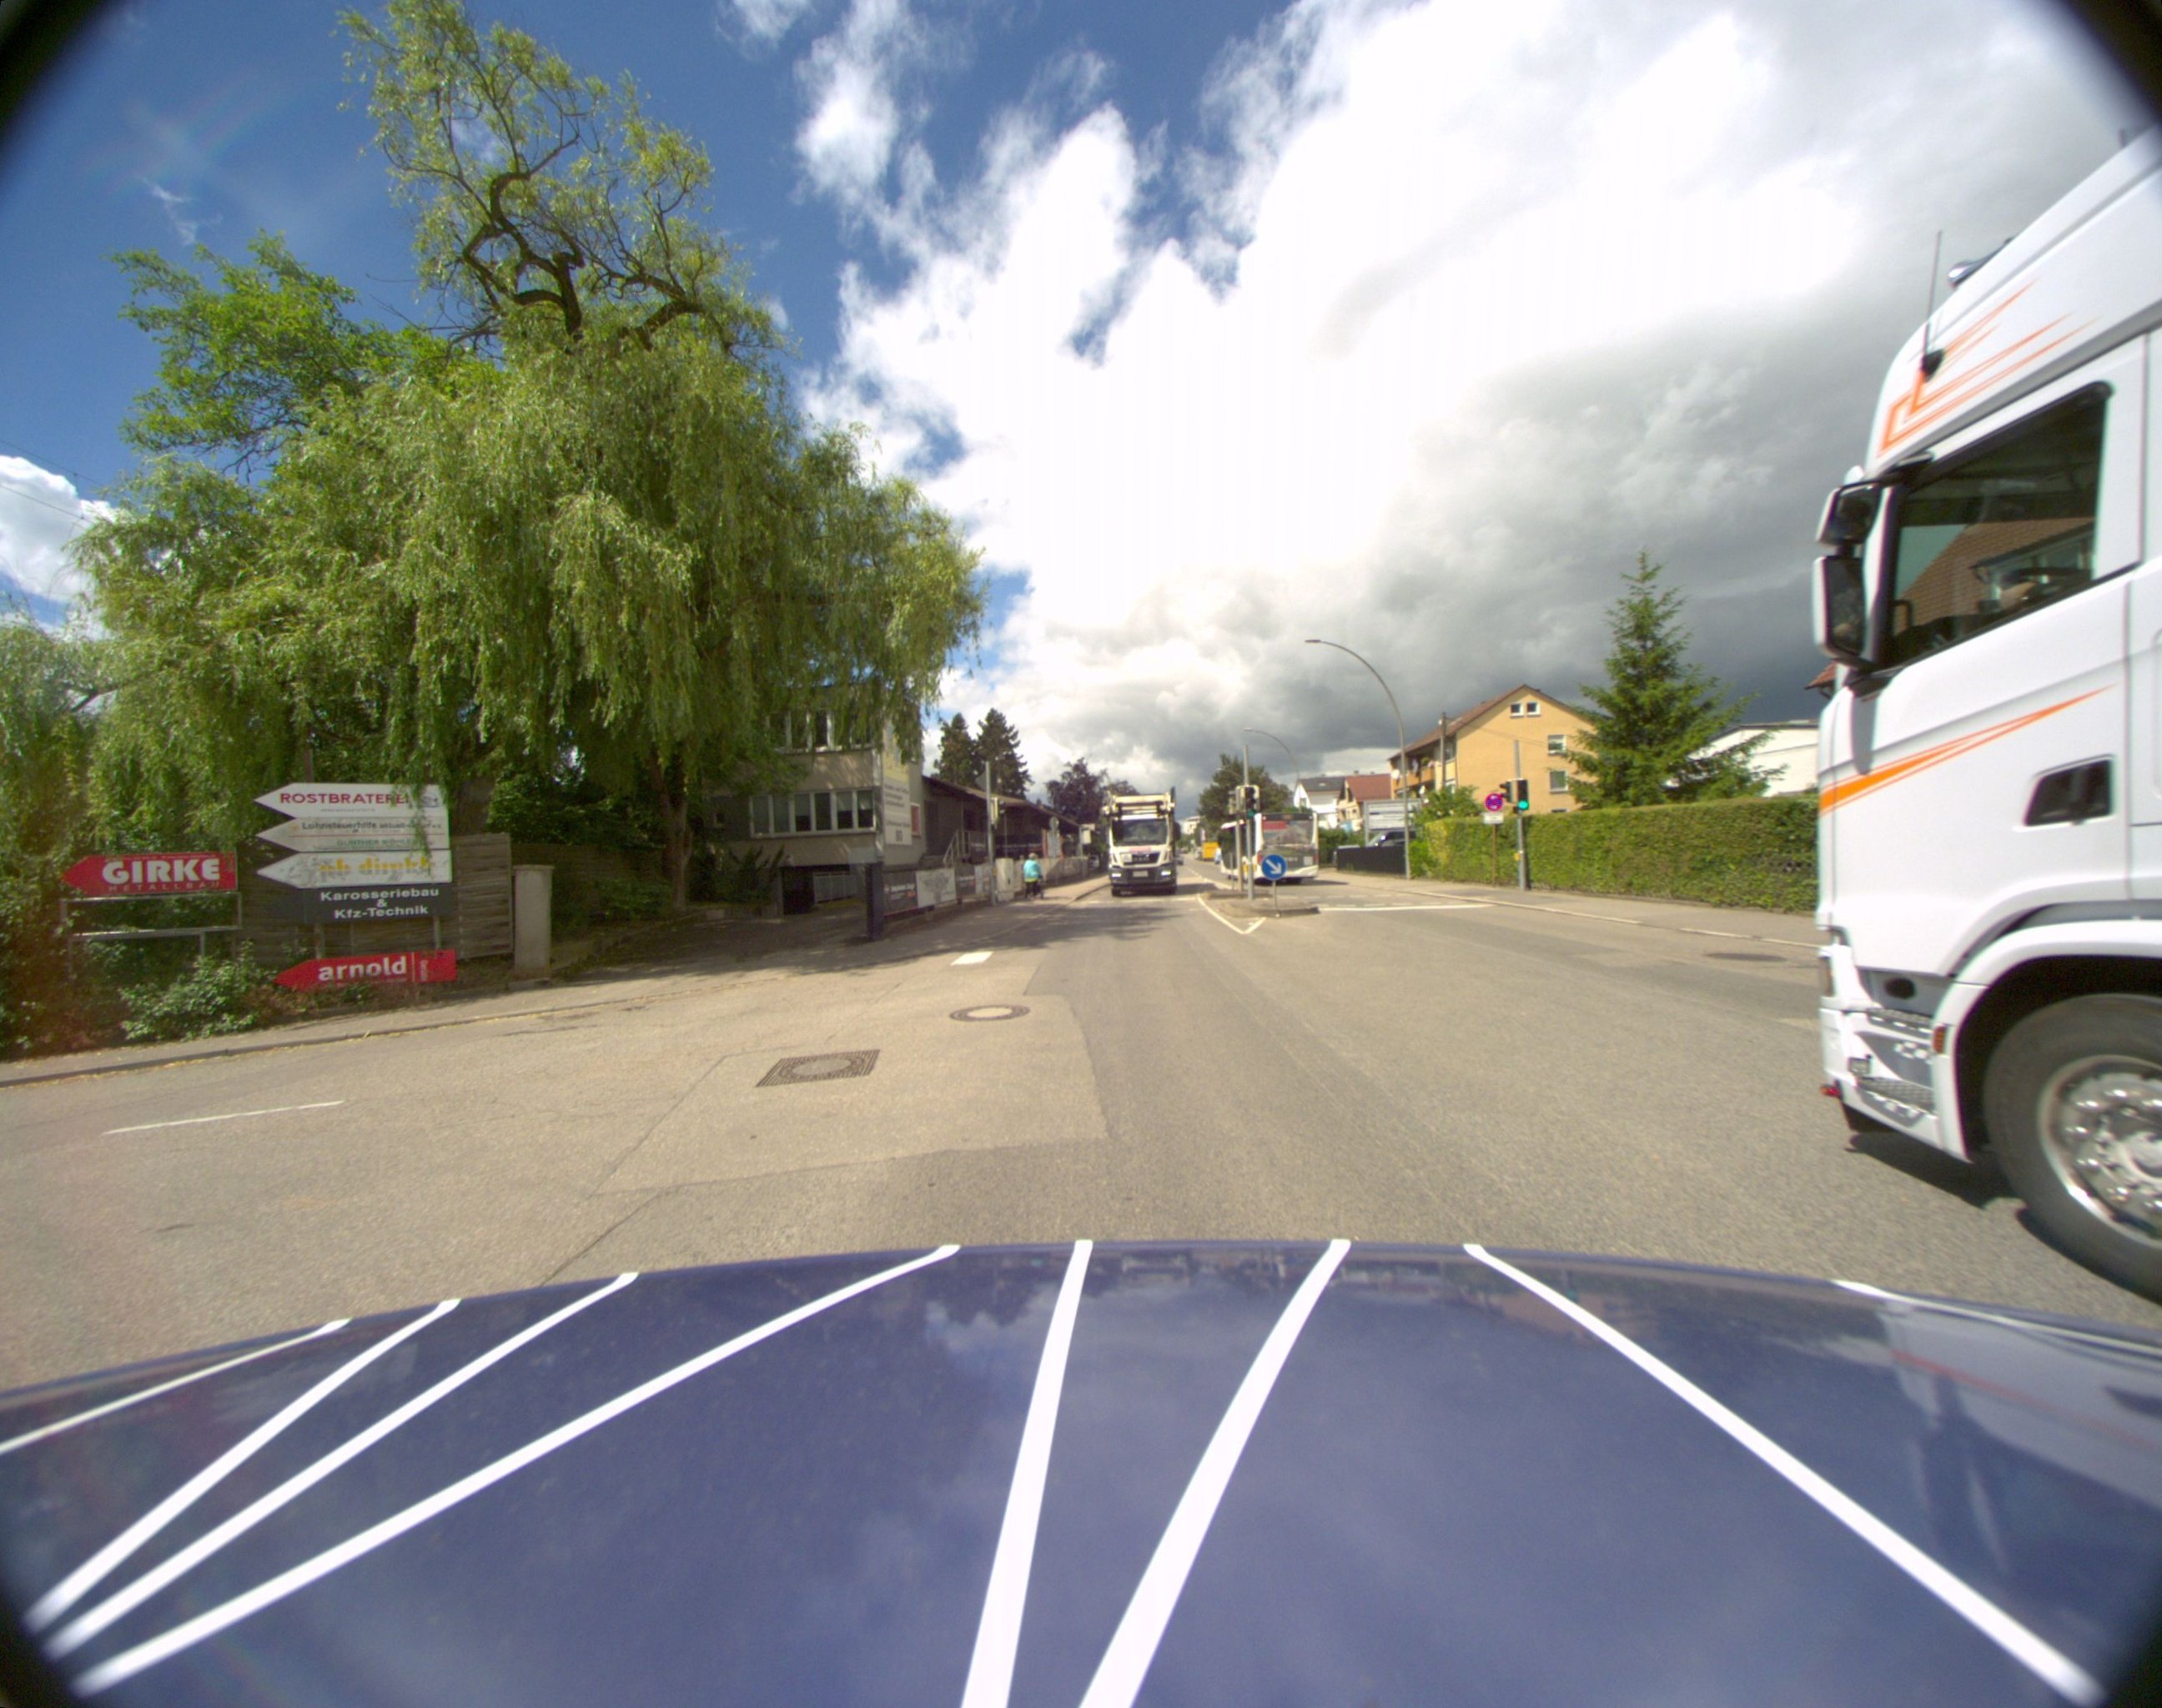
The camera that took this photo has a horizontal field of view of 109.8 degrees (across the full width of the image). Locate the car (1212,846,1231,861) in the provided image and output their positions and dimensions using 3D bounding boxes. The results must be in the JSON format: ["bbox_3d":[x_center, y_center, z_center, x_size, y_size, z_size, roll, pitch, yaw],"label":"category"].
[{"bbox_3d":[16.044,-0.068,86.690,1.729,1.670,4.001,-2,0,6],"label":"car"}]

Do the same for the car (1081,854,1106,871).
[{"bbox_3d":[1.333,0.839,77.200,1.861,1.521,5.205,-2,0,8],"label":"car"}]

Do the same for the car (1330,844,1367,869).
[{"bbox_3d":[17.072,0.144,48.709,1.887,1.450,4.354,-3,0,16],"label":"car"}]

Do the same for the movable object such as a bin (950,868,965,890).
[{"bbox_3d":[-5.408,1.073,33.224,0.482,0.925,0.474,-2,1,6],"label":"movable object such as a bin"}]

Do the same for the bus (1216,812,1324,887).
[{"bbox_3d":[8.803,-0.248,37.099,2.725,3.013,12.267,-1,1,3],"label":"bus"}]

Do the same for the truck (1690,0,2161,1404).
[{"bbox_3d":[4.263,-0.581,1.061,2.778,4.095,4.986,-2,1,1],"label":"truck"}]

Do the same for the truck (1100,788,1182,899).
[{"bbox_3d":[2.757,-0.421,31.583,2.663,3.789,9.820,-2,0,8],"label":"truck"}]

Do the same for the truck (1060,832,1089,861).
[{"bbox_3d":[-0.644,-0.763,79.541,2.090,2.812,5.205,-2,0,8],"label":"truck"}]

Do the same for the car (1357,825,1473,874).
[{"bbox_3d":[18.042,-0.239,41.350,5.360,2.371,2.105,-2,1,9],"label":"car"}]

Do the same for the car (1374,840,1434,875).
[{"bbox_3d":[15.982,0.140,37.749,1.812,1.612,3.623,-2,0,8],"label":"car"}]

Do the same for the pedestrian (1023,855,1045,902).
[{"bbox_3d":[-1.572,0.789,25.307,0.734,1.534,0.841,0,1,-5],"label":"pedestrian"}]

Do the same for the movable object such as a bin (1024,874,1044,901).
[{"bbox_3d":[-1.605,1.118,25.733,0.670,0.866,0.748,0,1,-4],"label":"movable object such as a bin"}]
